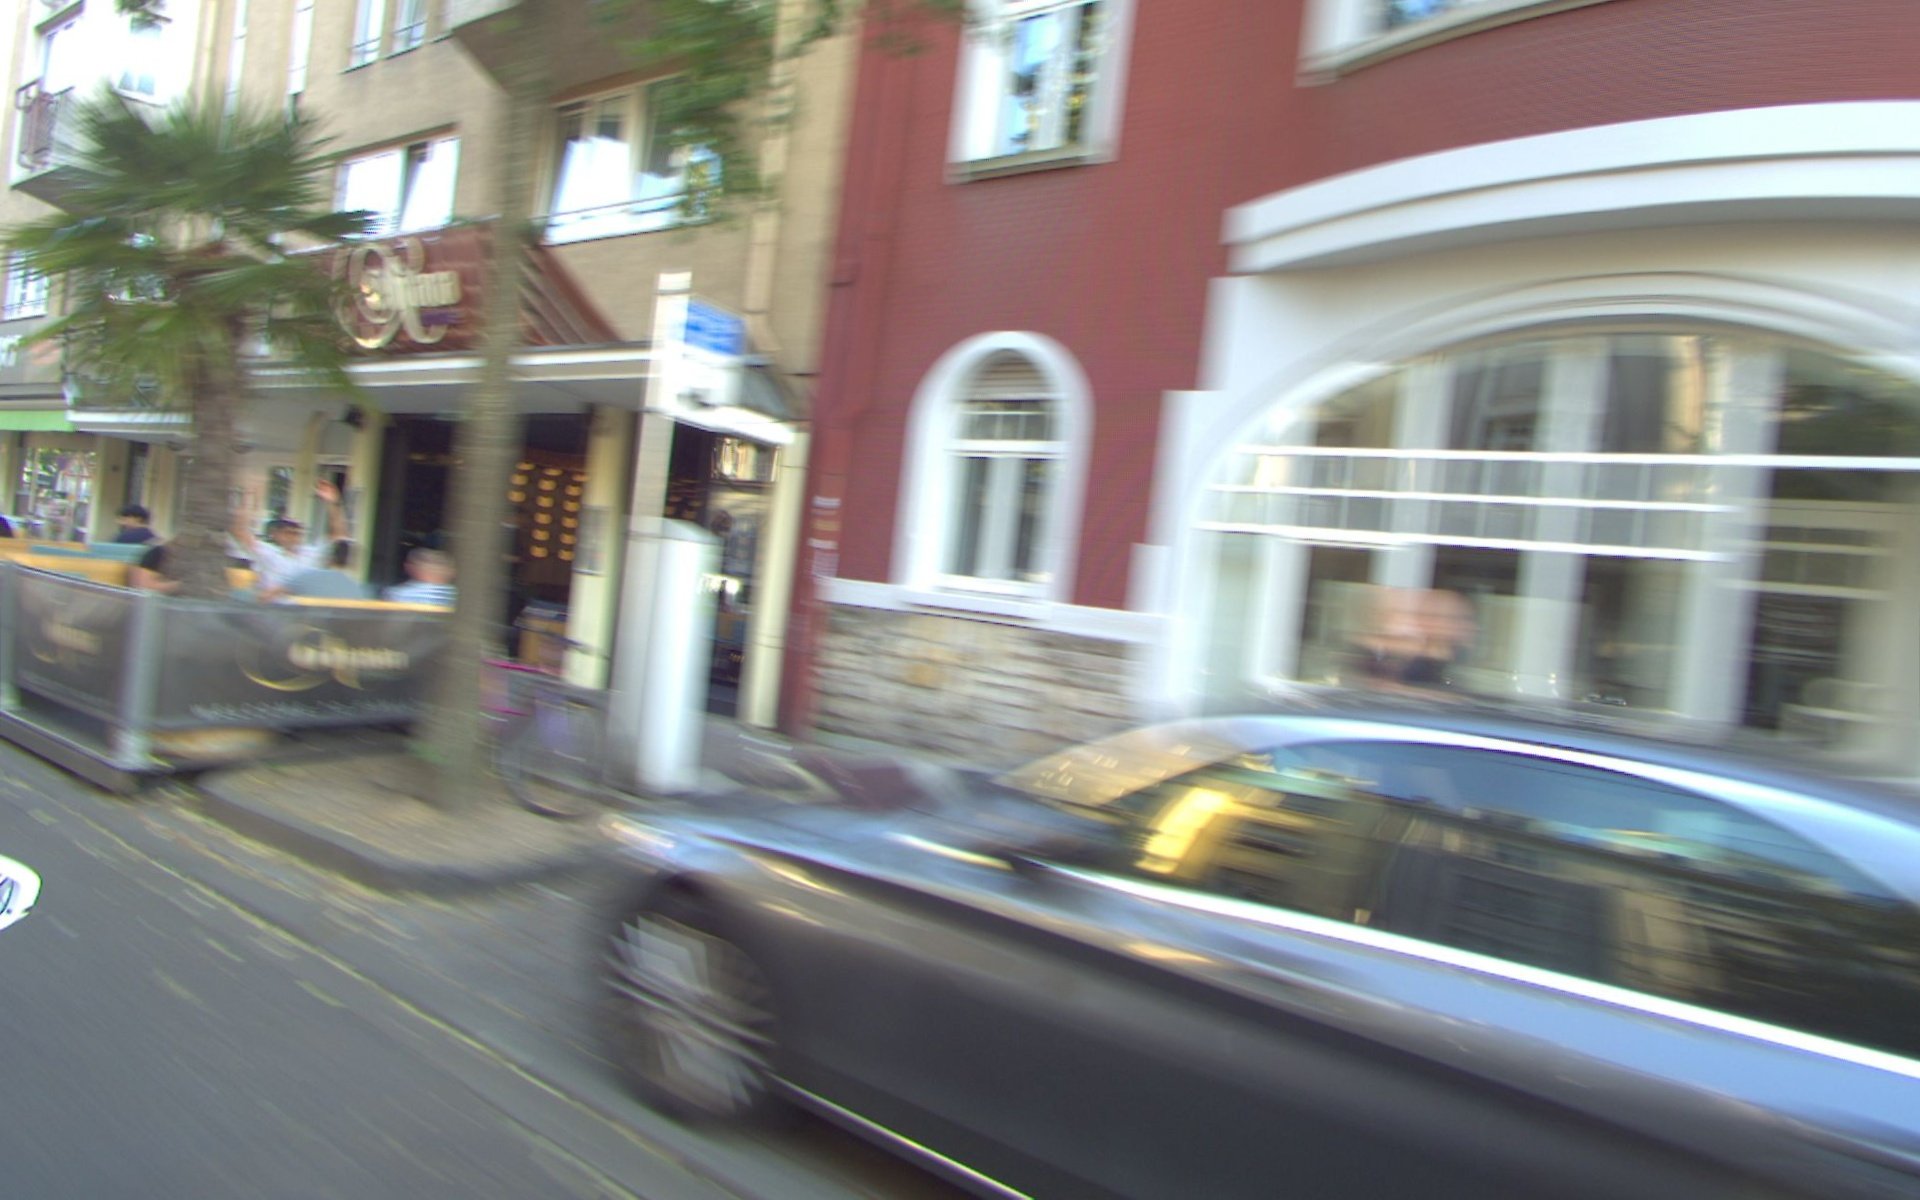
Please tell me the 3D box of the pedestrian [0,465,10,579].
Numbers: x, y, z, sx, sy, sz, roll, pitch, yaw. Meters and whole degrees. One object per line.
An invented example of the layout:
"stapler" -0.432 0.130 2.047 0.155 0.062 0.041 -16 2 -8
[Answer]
"pedestrian" -14.990 -1.233 15.131 0.689 1.726 0.788 7 2 32

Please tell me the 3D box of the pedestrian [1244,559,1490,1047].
"pedestrian" 1.625 0.733 3.994 0.630 1.699 0.624 7 2 32

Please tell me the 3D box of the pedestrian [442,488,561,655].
"pedestrian" -5.646 -0.332 12.397 0.862 1.907 0.800 9 2 28

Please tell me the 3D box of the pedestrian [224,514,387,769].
"pedestrian" -4.116 0.245 6.336 0.593 1.481 0.577 7 2 32

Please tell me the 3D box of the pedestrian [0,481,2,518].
"pedestrian" -8.476 -0.339 8.351 0.593 1.403 0.577 7 2 32

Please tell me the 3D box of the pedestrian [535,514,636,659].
"pedestrian" -5.294 -0.184 14.236 0.863 1.907 0.799 9 2 32

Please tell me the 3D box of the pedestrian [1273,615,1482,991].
"pedestrian" 1.915 0.864 4.598 0.630 1.507 0.624 7 2 32

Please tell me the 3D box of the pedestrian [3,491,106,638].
"pedestrian" -9.197 -0.352 10.217 0.593 1.403 0.577 7 2 32

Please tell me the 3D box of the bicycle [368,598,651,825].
"bicycle" -2.582 0.585 5.703 1.681 0.996 0.386 7 1 26

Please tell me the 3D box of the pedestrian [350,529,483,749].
"pedestrian" -3.598 0.253 6.671 0.430 1.362 0.548 7 2 32

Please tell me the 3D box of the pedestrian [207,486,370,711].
"pedestrian" -5.249 -0.015 7.867 0.782 1.620 0.708 7 2 32

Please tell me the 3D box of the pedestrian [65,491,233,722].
"pedestrian" -5.737 0.039 7.123 0.782 1.504 0.631 7 2 32

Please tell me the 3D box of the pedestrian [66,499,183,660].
"pedestrian" -7.776 -0.188 9.364 0.706 1.403 0.577 7 2 32

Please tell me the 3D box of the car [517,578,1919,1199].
"car" 1.204 0.936 2.460 4.919 1.459 1.774 7 2 34
